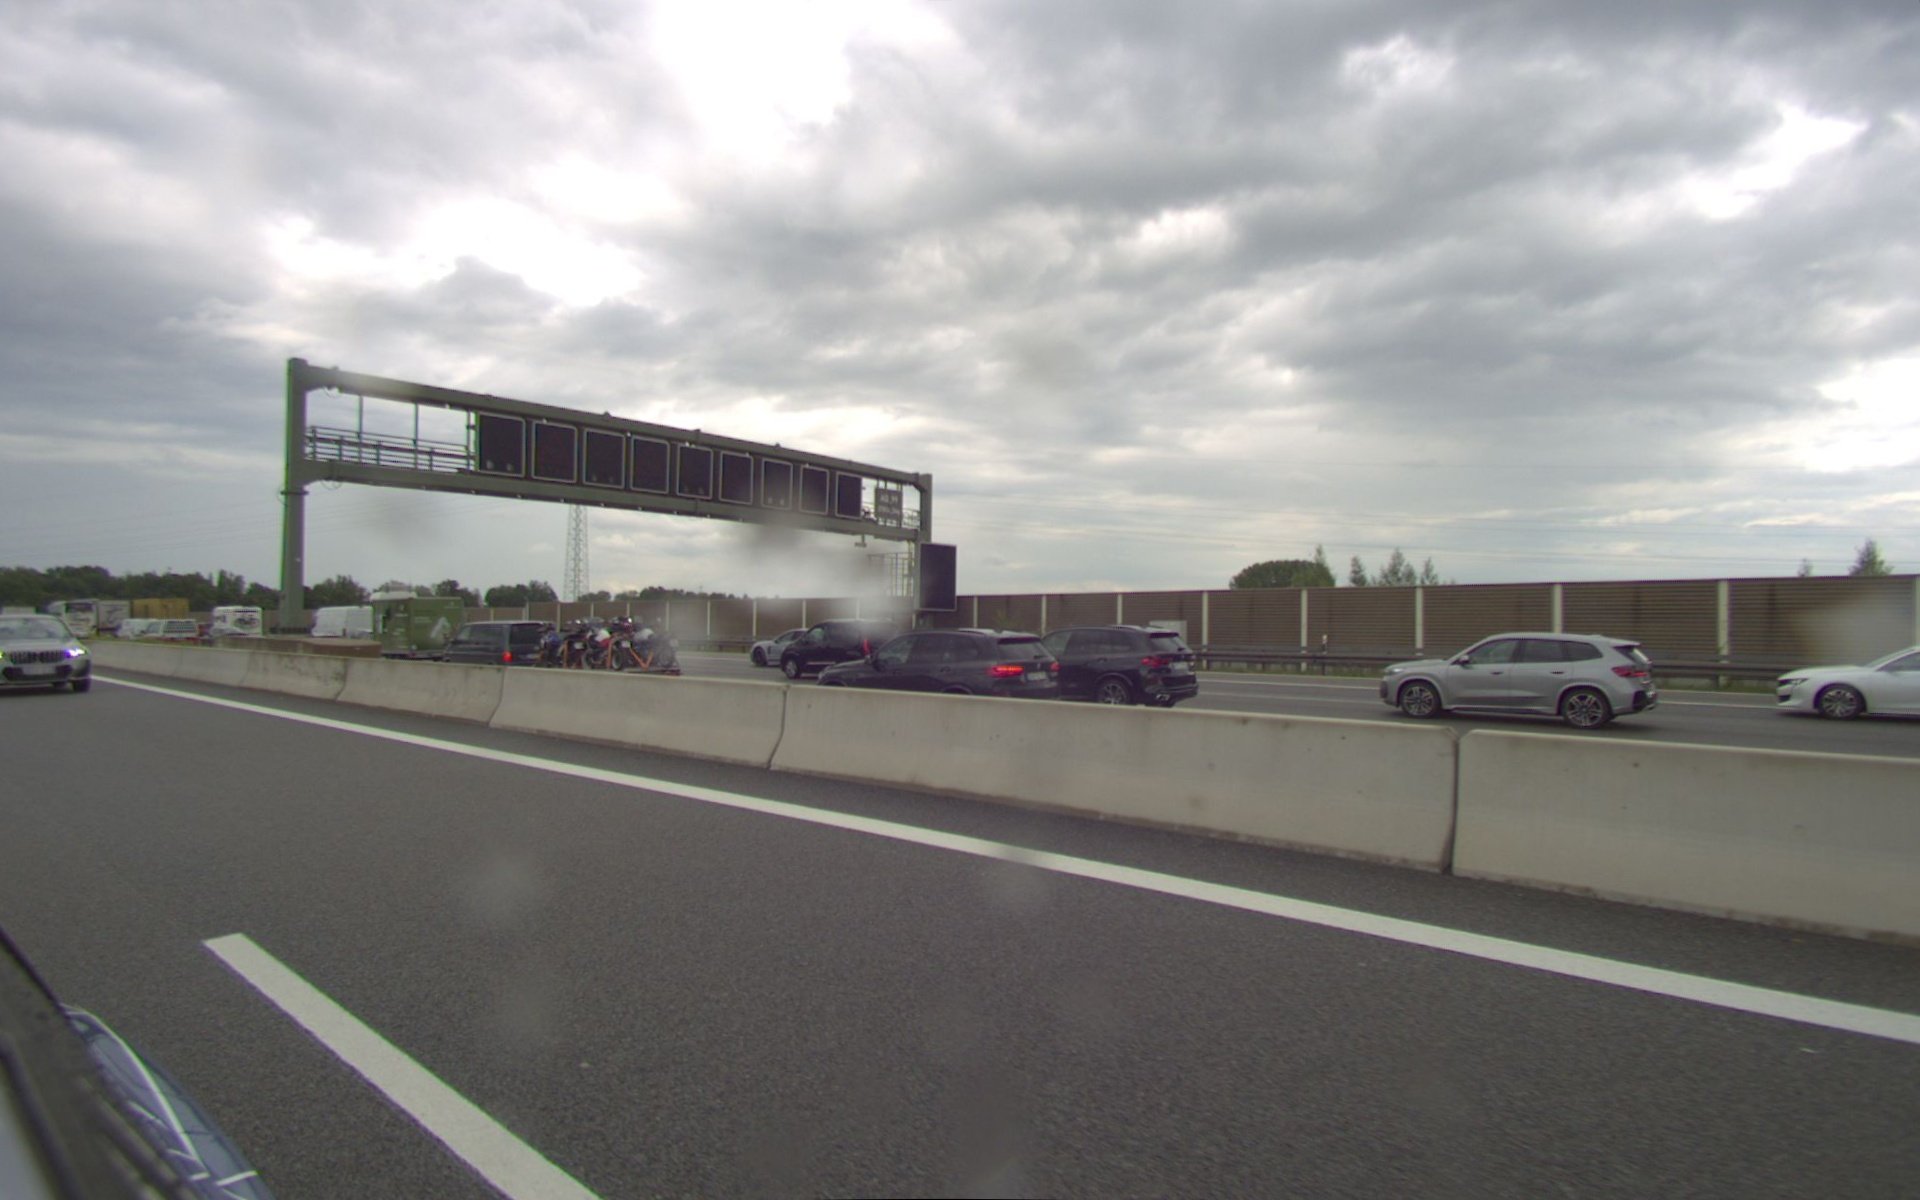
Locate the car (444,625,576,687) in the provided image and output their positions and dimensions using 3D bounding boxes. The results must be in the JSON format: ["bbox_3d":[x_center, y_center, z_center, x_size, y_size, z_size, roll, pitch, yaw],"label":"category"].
[{"bbox_3d":[-13.517,1.620,30.274,4.804,1.722,1.797,-1,-2,42],"label":"car"}]

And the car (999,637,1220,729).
[{"bbox_3d":[2.925,1.575,20.367,4.166,1.643,1.728,-2,-2,43],"label":"car"}]

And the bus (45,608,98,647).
[{"bbox_3d":[-87.948,2.723,100.069,10.630,3.707,2.626,-1,-2,42],"label":"bus"}]

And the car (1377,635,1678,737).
[{"bbox_3d":[10.280,1.467,18.547,4.523,1.643,1.803,-2,-2,41],"label":"car"}]

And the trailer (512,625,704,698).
[{"bbox_3d":[-9.414,1.533,26.715,6.044,1.722,2.121,-1,-2,42],"label":"trailer"}]

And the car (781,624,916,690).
[{"bbox_3d":[-3.438,1.685,30.778,4.163,1.862,1.729,-2,-2,40],"label":"car"}]

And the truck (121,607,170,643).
[{"bbox_3d":[-91.448,2.815,113.584,7.707,3.963,2.997,-1,-2,42],"label":"truck"}]

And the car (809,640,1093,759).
[{"bbox_3d":[-0.309,1.596,17.697,5.110,1.758,1.860,-2,-2,43],"label":"car"}]

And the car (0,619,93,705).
[{"bbox_3d":[-19.958,1.263,21.410,4.913,1.637,1.816,-2,-2,42],"label":"car"}]

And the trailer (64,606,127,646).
[{"bbox_3d":[-91.459,2.775,106.940,14.288,3.992,2.856,-2,-1,40],"label":"trailer"}]

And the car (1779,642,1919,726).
[{"bbox_3d":[17.457,1.477,17.901,4.569,1.411,1.845,-2,-2,40],"label":"car"}]

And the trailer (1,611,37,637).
[{"bbox_3d":[-158.525,4.121,170.359,12.687,4.147,2.871,-2,-1,40],"label":"trailer"}]

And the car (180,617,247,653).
[{"bbox_3d":[-46.186,2.142,62.603,5.538,2.130,2.220,-1,-2,42],"label":"car"}]

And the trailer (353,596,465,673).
[{"bbox_3d":[-24.353,1.508,44.615,6.048,3.162,2.423,-2,-2,42],"label":"trailer"}]

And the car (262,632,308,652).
[{"bbox_3d":[-51.772,3.184,77.579,4.771,1.499,1.788,-1,-2,42],"label":"car"}]

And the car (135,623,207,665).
[{"bbox_3d":[-44.444,2.431,56.947,5.511,2.254,2.206,-1,-2,42],"label":"car"}]

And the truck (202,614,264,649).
[{"bbox_3d":[-62.662,2.702,87.176,7.831,2.835,2.663,-1,-2,42],"label":"truck"}]

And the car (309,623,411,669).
[{"bbox_3d":[-28.916,2.183,48.682,6.191,2.067,2.423,-2,-2,42],"label":"car"}]

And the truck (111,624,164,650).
[{"bbox_3d":[-64.978,2.905,79.918,5.541,2.015,2.221,-1,-2,40],"label":"truck"}]

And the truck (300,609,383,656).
[{"bbox_3d":[-36.707,1.926,60.003,6.553,2.623,2.221,-1,-2,40],"label":"truck"}]

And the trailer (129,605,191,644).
[{"bbox_3d":[-86.183,2.643,108.878,12.969,3.963,2.997,-1,-2,42],"label":"trailer"}]

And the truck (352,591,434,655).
[{"bbox_3d":[-36.329,1.487,64.781,6.048,3.917,2.723,-2,-2,42],"label":"truck"}]

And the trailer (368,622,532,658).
[{"bbox_3d":[-30.229,2.304,59.278,16.342,1.842,2.723,-2,-2,42],"label":"trailer"}]

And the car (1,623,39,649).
[{"bbox_3d":[-89.276,3.402,96.044,5.708,2.369,2.114,-2,-1,42],"label":"car"}]
